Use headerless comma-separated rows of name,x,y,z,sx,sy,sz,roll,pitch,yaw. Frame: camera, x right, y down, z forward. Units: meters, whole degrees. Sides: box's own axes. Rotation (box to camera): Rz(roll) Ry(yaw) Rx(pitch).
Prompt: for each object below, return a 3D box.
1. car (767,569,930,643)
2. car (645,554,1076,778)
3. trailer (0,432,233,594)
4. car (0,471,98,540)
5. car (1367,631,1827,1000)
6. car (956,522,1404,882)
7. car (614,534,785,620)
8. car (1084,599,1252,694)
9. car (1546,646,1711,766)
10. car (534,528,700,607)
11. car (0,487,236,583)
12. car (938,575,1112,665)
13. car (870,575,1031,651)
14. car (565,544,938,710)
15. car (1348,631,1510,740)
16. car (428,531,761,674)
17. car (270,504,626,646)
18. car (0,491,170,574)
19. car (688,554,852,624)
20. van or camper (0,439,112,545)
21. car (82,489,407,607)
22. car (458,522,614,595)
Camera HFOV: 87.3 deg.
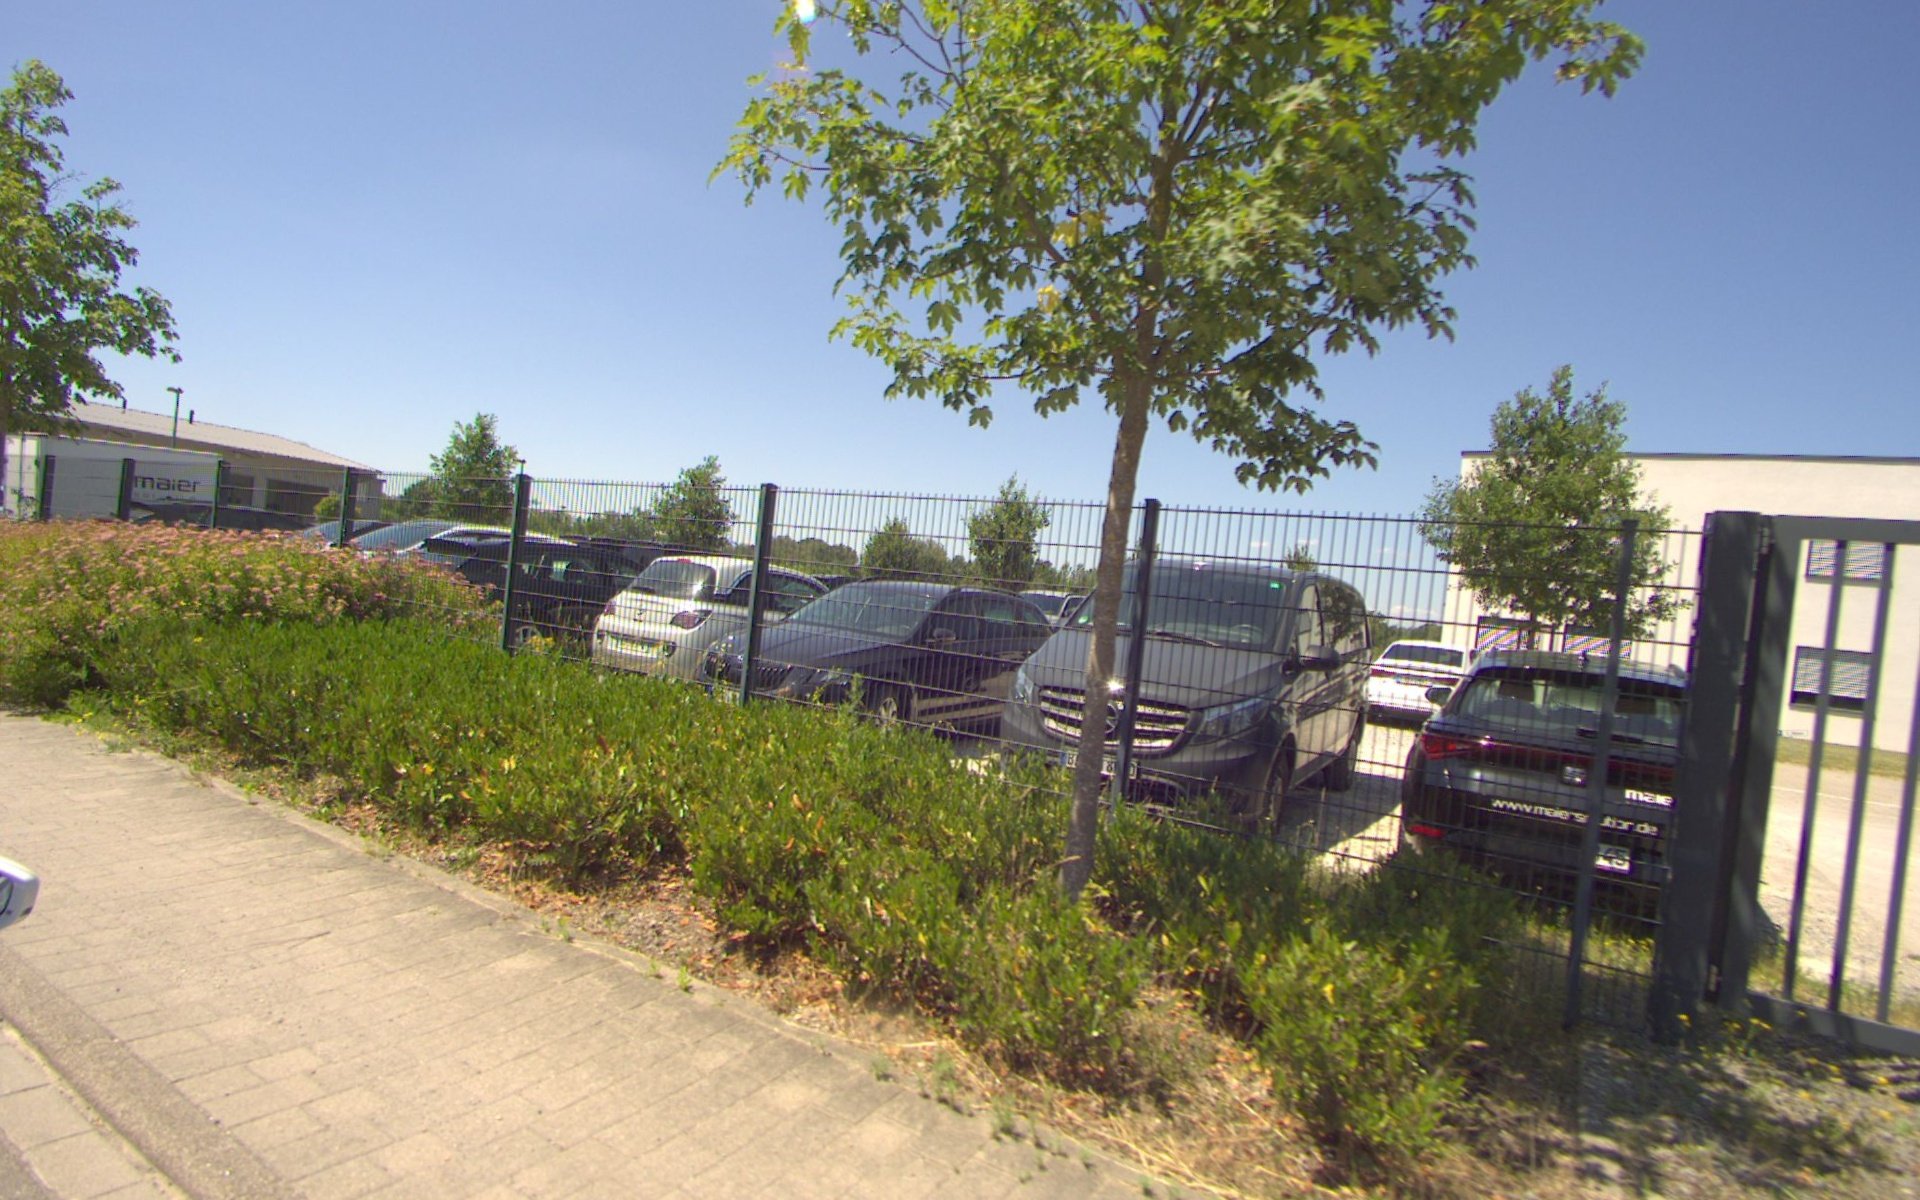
car,-2.527,0.186,23.681,1.695,1.406,3.908,6,1,31
car,-0.618,0.535,9.316,1.576,1.468,4.347,6,1,31
trailer,-14.680,-1.436,17.526,1.395,2.435,2.825,7,2,28
car,-24.820,-2.536,25.498,1.778,1.557,4.139,6,2,31
car,4.036,1.057,6.657,1.735,1.440,4.218,6,1,31
car,2.167,0.626,8.225,1.871,1.898,5.116,6,1,31
car,-6.686,-0.544,26.218,1.887,1.823,4.044,6,1,31
car,4.158,0.910,19.690,1.739,1.522,3.873,7,1,34
car,10.300,1.545,15.729,1.788,1.421,3.990,6,1,31
car,-9.508,-0.849,28.169,1.887,1.786,4.044,6,1,31
car,-16.781,-1.255,19.623,1.776,1.495,3.893,6,1,31
car,1.481,0.457,21.196,1.887,1.572,4.044,6,1,31
car,-0.114,0.351,23.200,1.747,1.467,4.044,6,1,31
car,-2.190,0.319,11.765,1.726,1.463,4.281,6,1,31
car,7.921,1.366,16.796,1.739,1.421,3.873,7,1,34
car,-4.442,0.093,12.738,1.617,1.440,3.668,6,1,31
car,-6.896,-0.256,13.974,1.792,1.541,3.990,6,1,31
car,-19.100,-1.441,20.865,1.775,1.459,3.843,6,2,28
car,-4.672,-0.224,25.309,1.695,1.406,4.044,6,1,31
van or camper,-27.557,-3.210,26.999,2.592,2.618,6.763,6,0,31
car,-11.991,-0.811,17.135,1.887,1.523,4.044,6,1,31
car,-13.117,-1.251,31.339,1.887,1.830,4.044,6,1,31
